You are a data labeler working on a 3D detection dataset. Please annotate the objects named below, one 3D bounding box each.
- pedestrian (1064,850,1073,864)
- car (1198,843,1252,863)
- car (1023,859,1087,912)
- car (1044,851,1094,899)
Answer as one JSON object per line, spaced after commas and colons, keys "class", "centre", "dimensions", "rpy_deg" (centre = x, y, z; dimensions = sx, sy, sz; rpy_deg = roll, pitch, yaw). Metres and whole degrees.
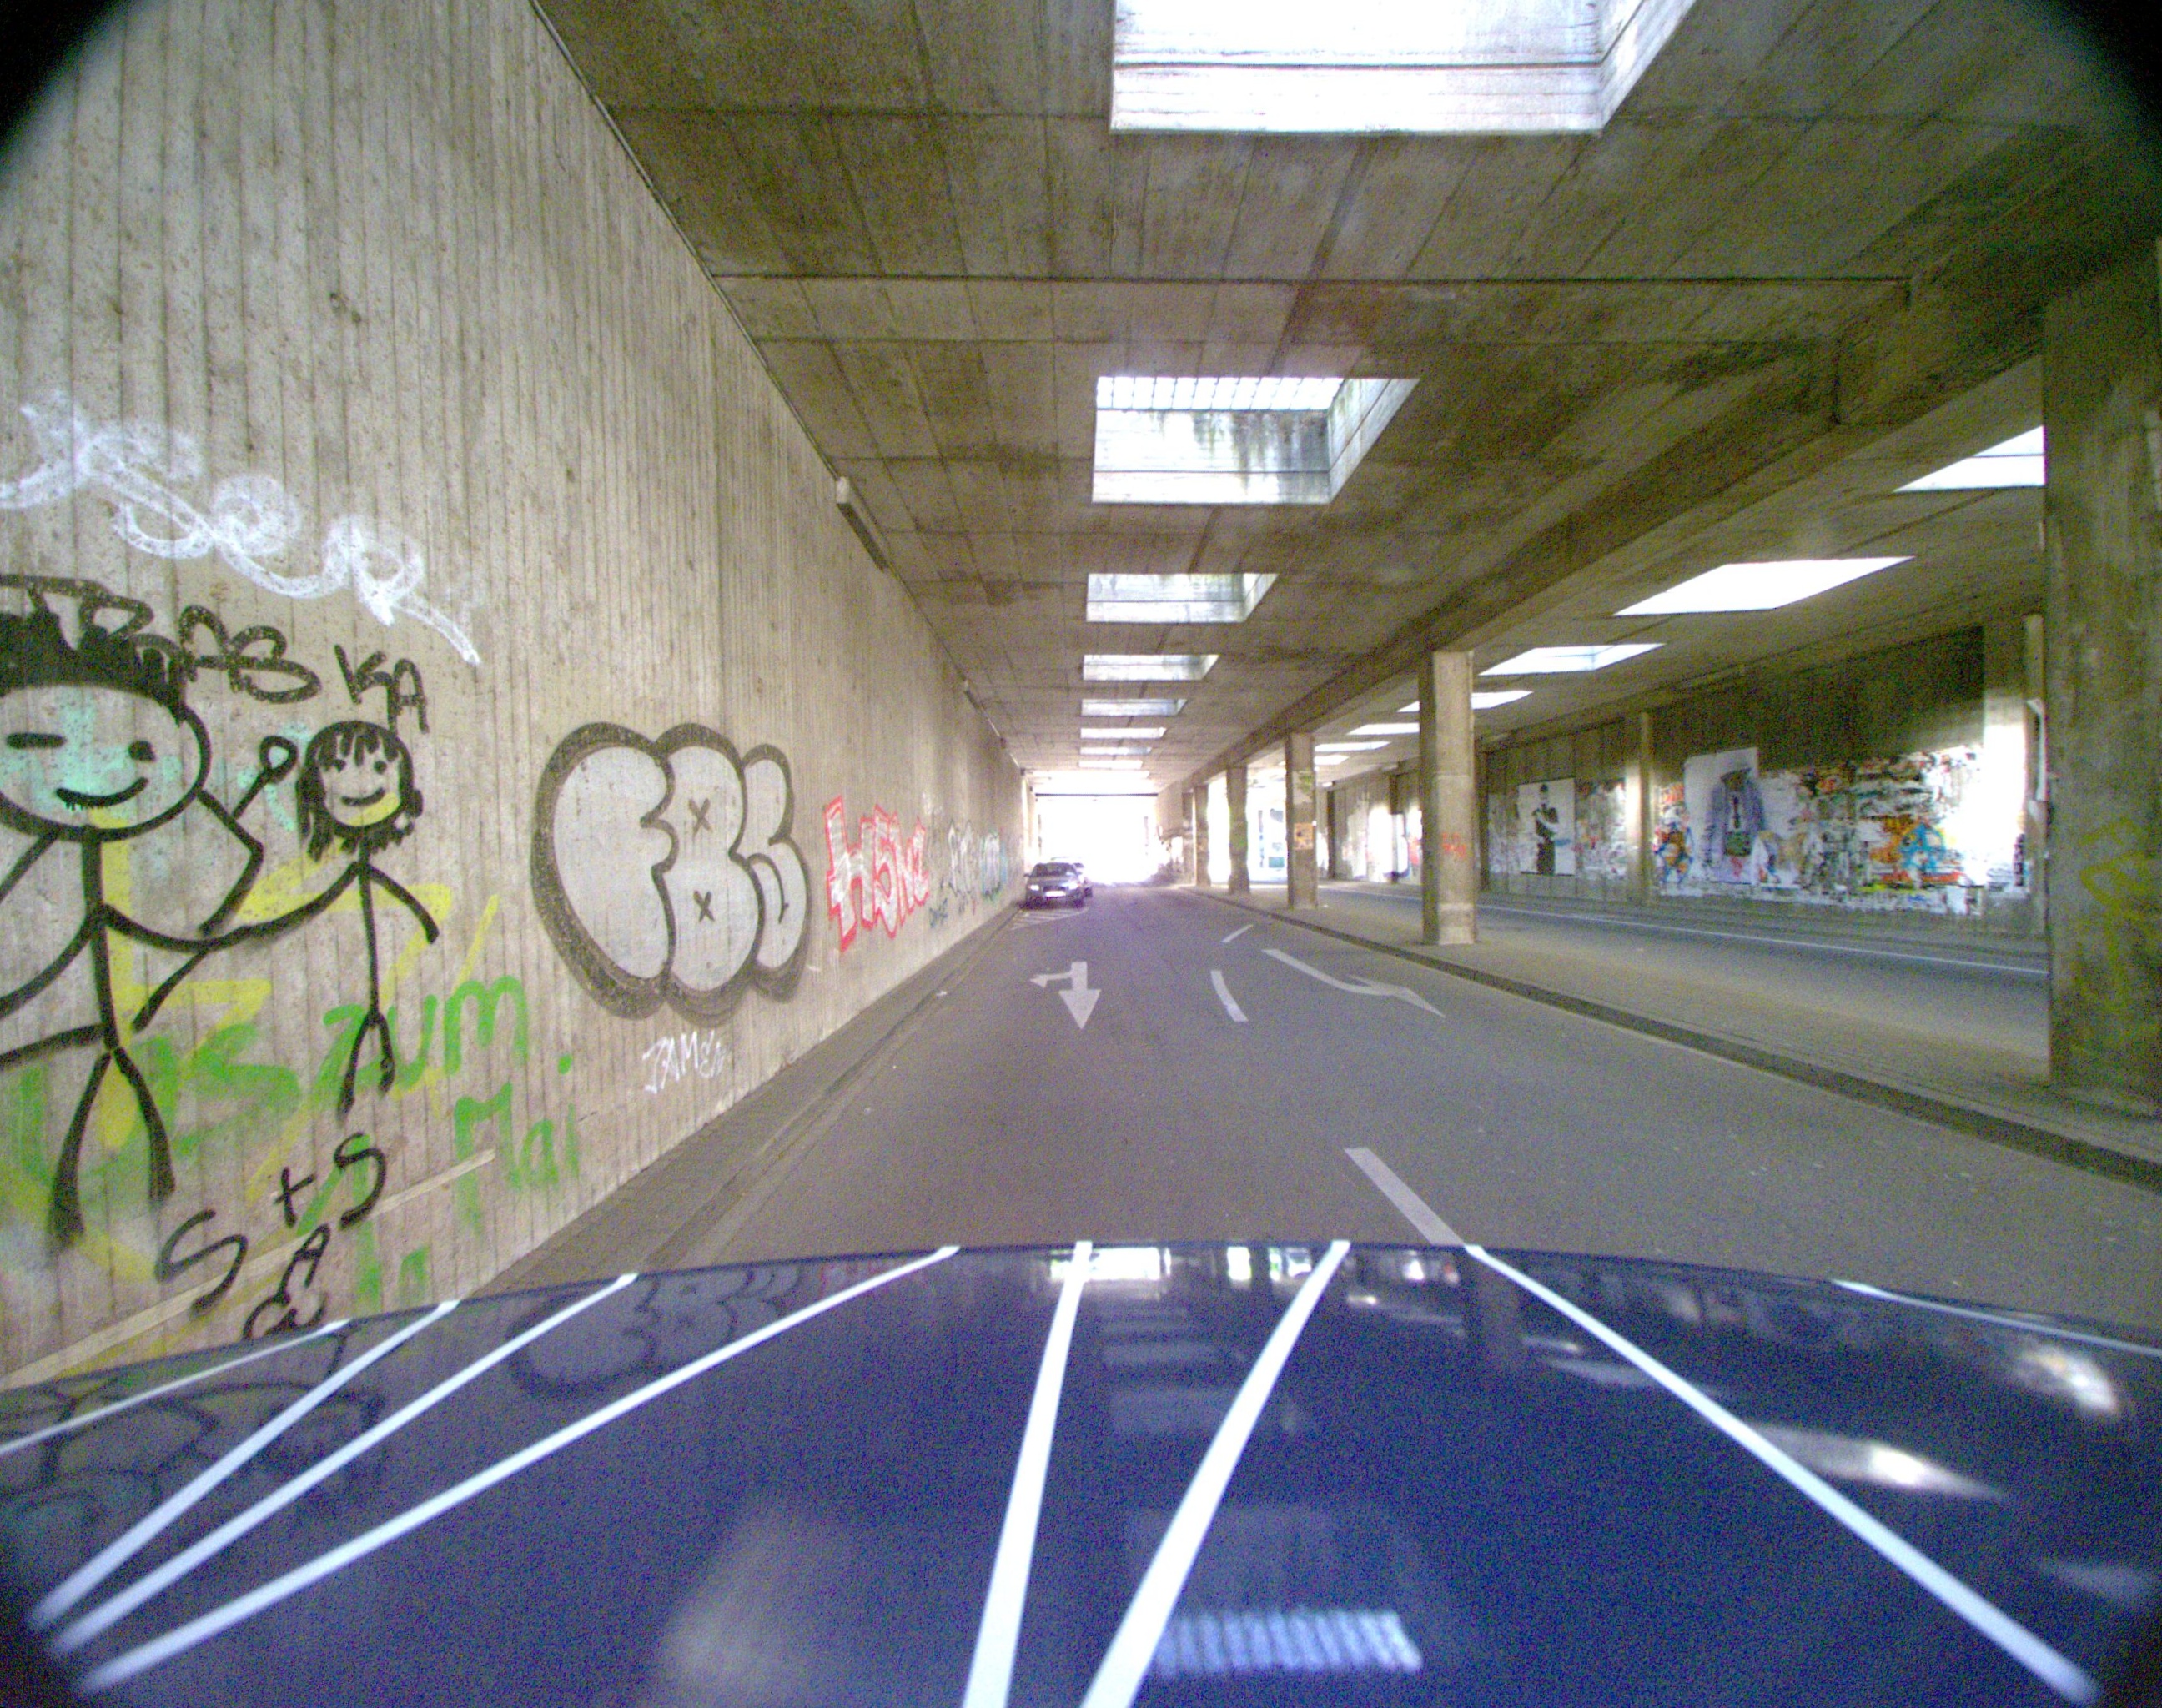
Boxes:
{"class": "pedestrian", "centre": [-1.810, 0.435, 109.474], "dimensions": [1.215, 2.002, 1.490], "rpy_deg": [-2, 1, 0]}
{"class": "car", "centre": [14.518, -0.098, 76.778], "dimensions": [4.858, 1.740, 1.999], "rpy_deg": [-2, 1, -7]}
{"class": "car", "centre": [-0.733, 0.922, 23.988], "dimensions": [1.767, 1.407, 3.999], "rpy_deg": [-2, 1, 1]}
{"class": "car", "centre": [-0.499, 0.764, 29.813], "dimensions": [1.767, 1.634, 3.999], "rpy_deg": [-2, 1, -2]}
